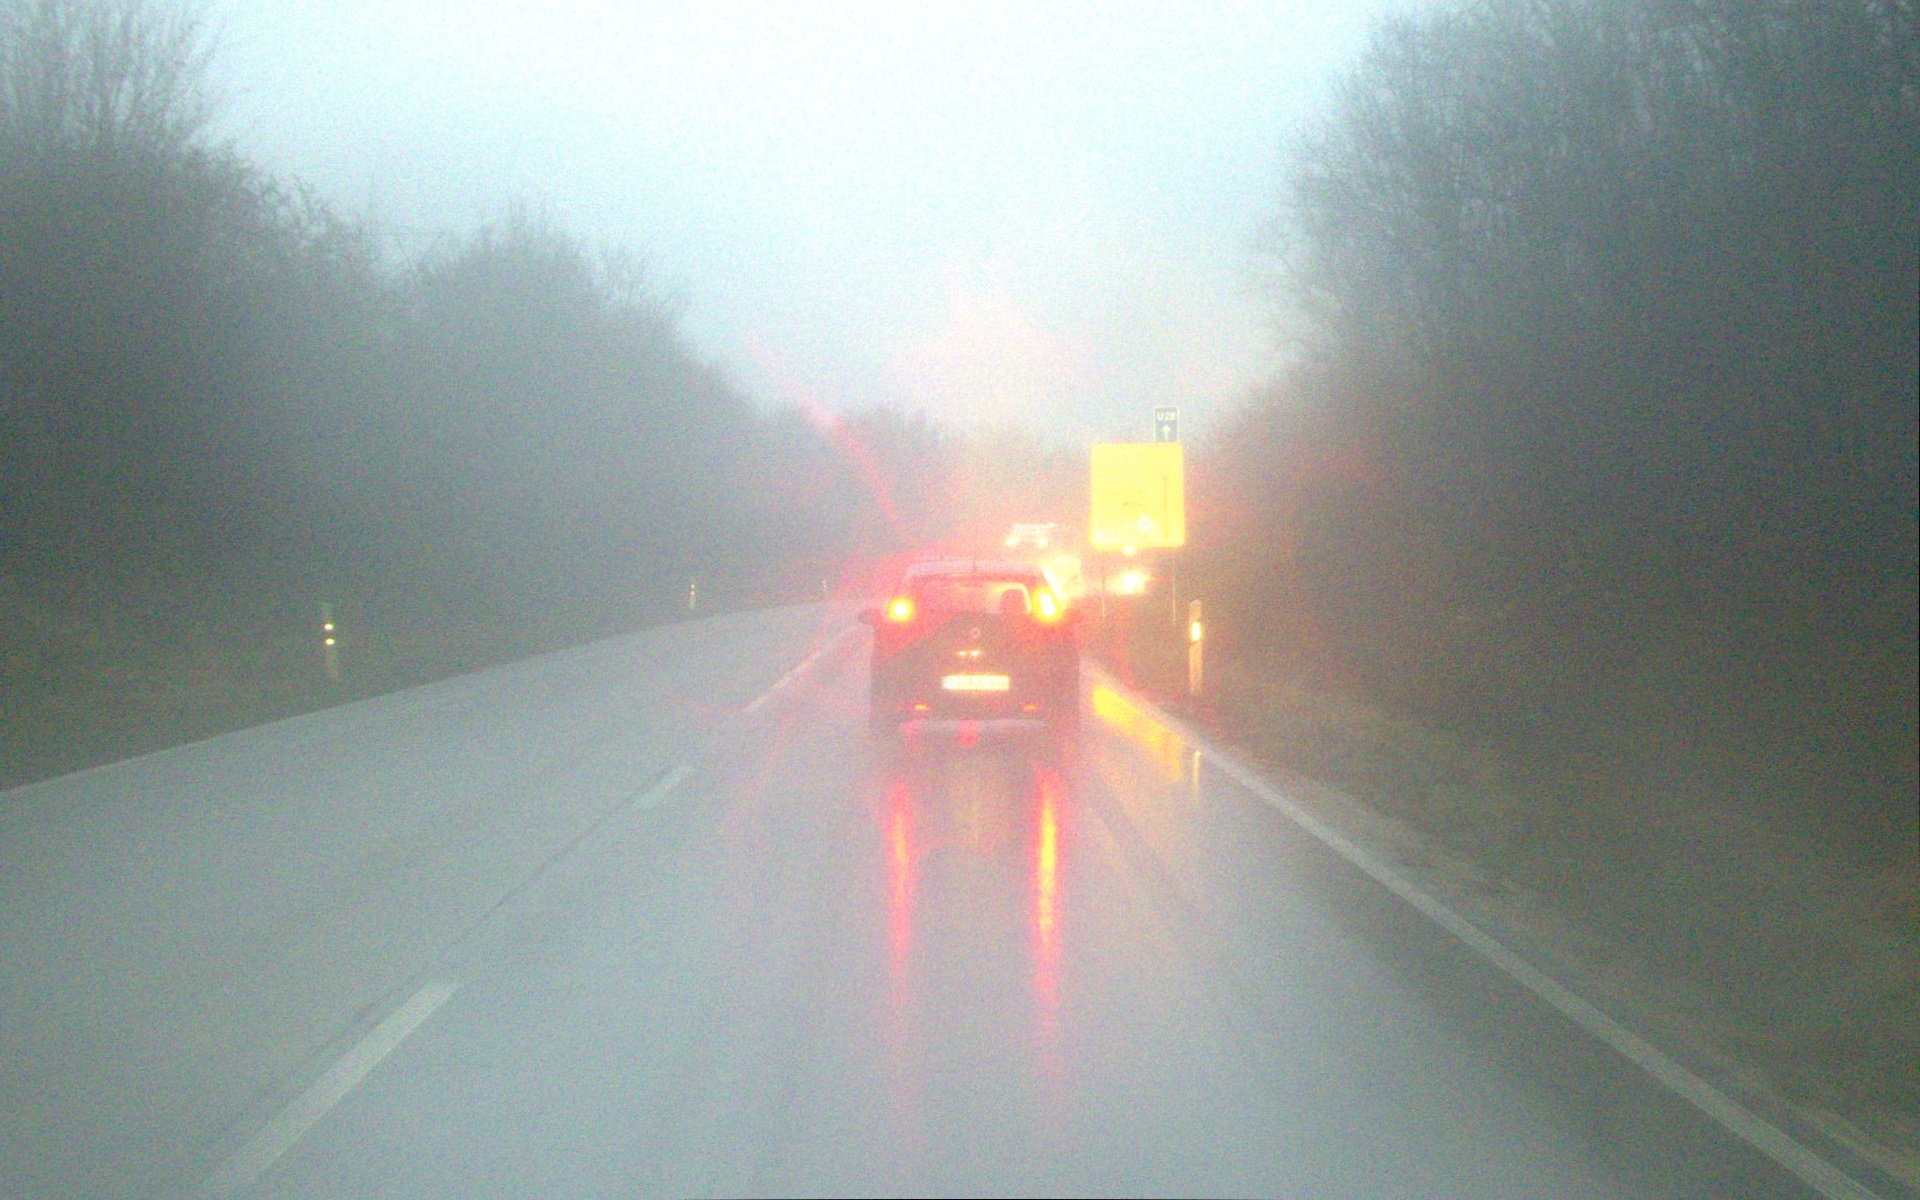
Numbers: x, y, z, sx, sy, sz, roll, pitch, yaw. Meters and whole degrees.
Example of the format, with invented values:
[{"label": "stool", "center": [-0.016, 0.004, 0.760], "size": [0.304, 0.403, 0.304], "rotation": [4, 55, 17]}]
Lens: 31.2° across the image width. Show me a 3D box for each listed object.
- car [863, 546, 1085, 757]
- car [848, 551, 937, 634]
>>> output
[{"label": "car", "center": [0.123, 0.372, 28.711], "size": [1.728, 1.638, 4.000], "rotation": [0, 1, 0]}, {"label": "car", "center": [-1.359, -0.174, 70.589], "size": [1.728, 1.638, 4.000], "rotation": [0, 1, 0]}]
